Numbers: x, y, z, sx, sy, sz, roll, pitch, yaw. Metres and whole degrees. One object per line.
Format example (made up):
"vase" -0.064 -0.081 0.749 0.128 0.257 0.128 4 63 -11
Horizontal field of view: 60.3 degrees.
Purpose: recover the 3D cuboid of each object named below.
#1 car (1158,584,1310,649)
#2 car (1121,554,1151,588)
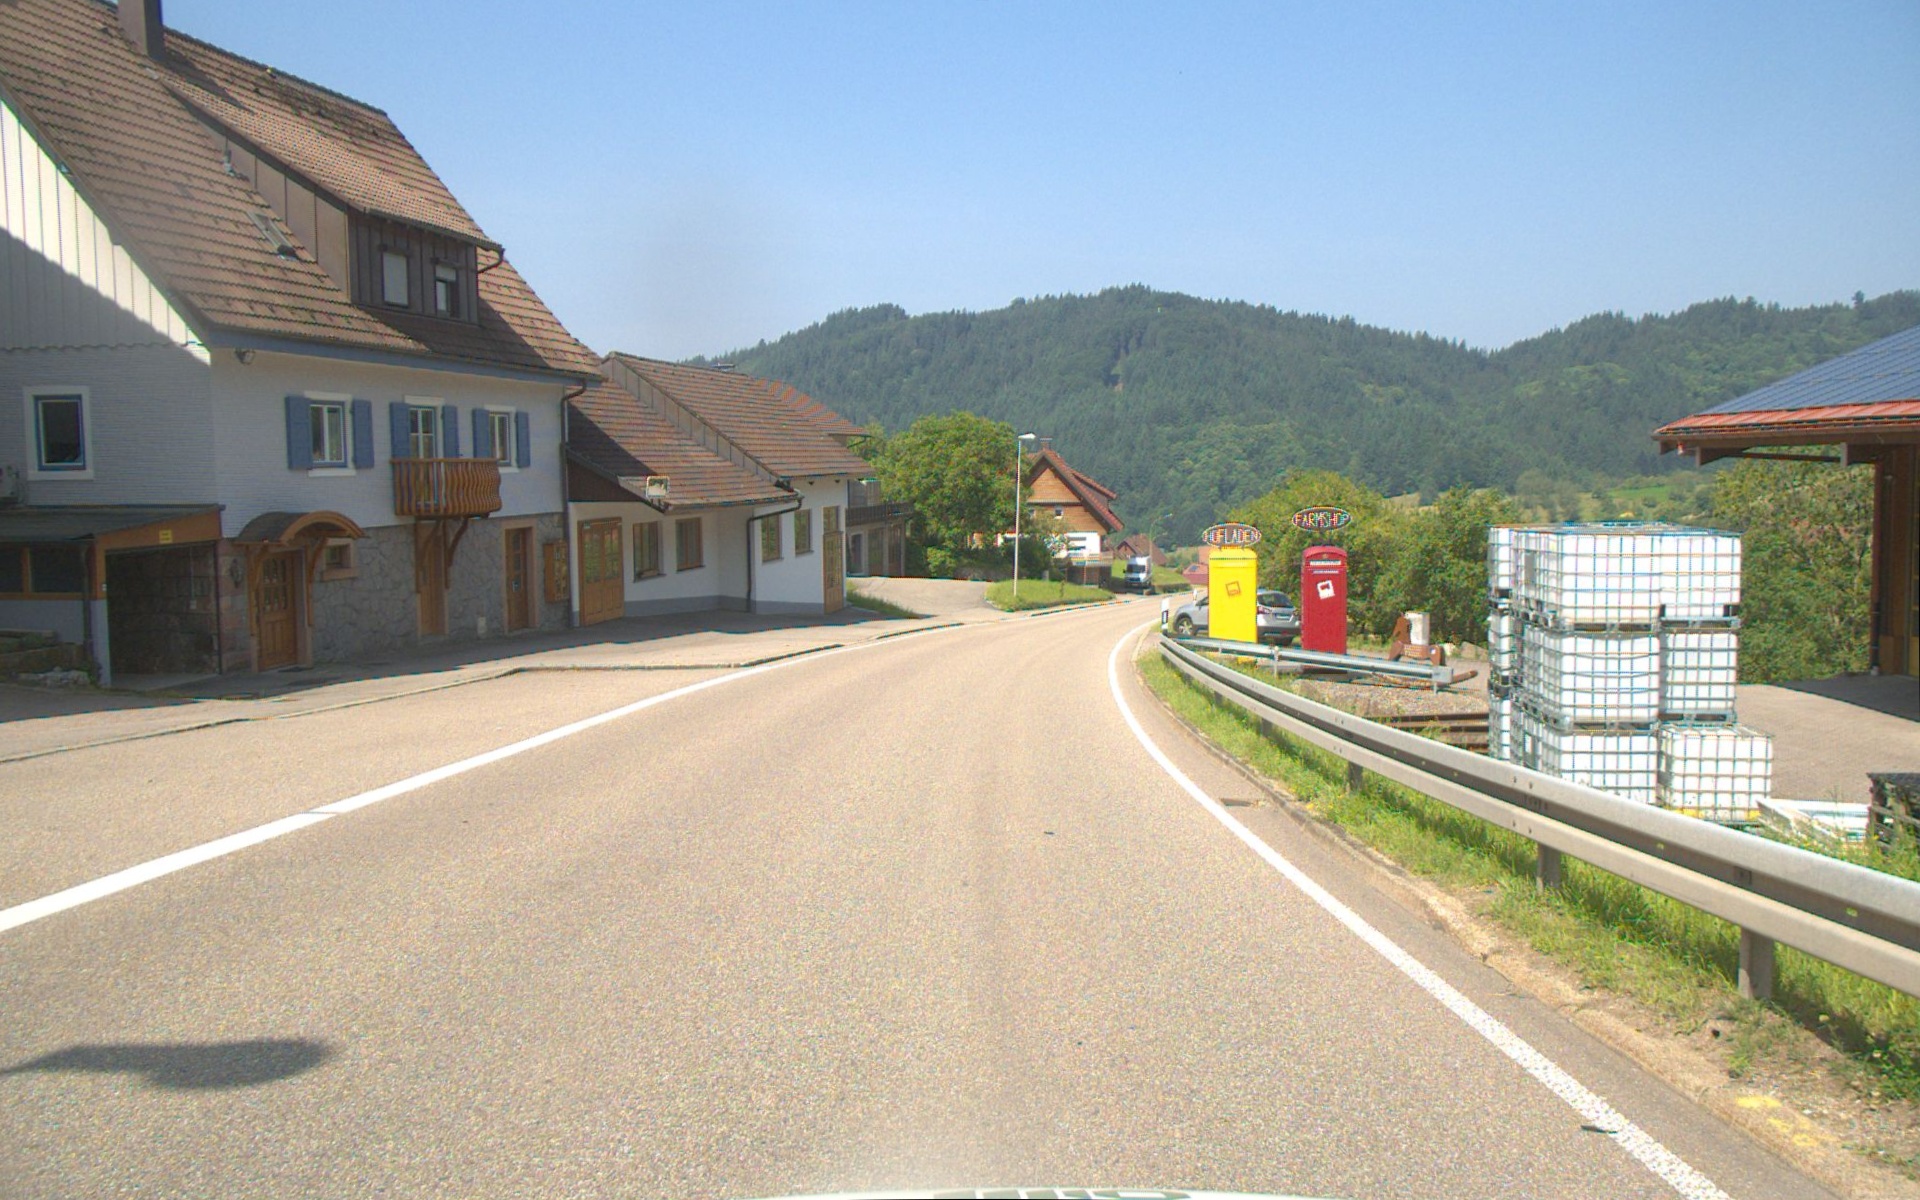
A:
"car" 7.936 0.464 48.235 1.881 1.598 4.414 2 1 -32
"car" 15.918 -2.633 149.449 2.023 2.734 7.183 0 4 12
